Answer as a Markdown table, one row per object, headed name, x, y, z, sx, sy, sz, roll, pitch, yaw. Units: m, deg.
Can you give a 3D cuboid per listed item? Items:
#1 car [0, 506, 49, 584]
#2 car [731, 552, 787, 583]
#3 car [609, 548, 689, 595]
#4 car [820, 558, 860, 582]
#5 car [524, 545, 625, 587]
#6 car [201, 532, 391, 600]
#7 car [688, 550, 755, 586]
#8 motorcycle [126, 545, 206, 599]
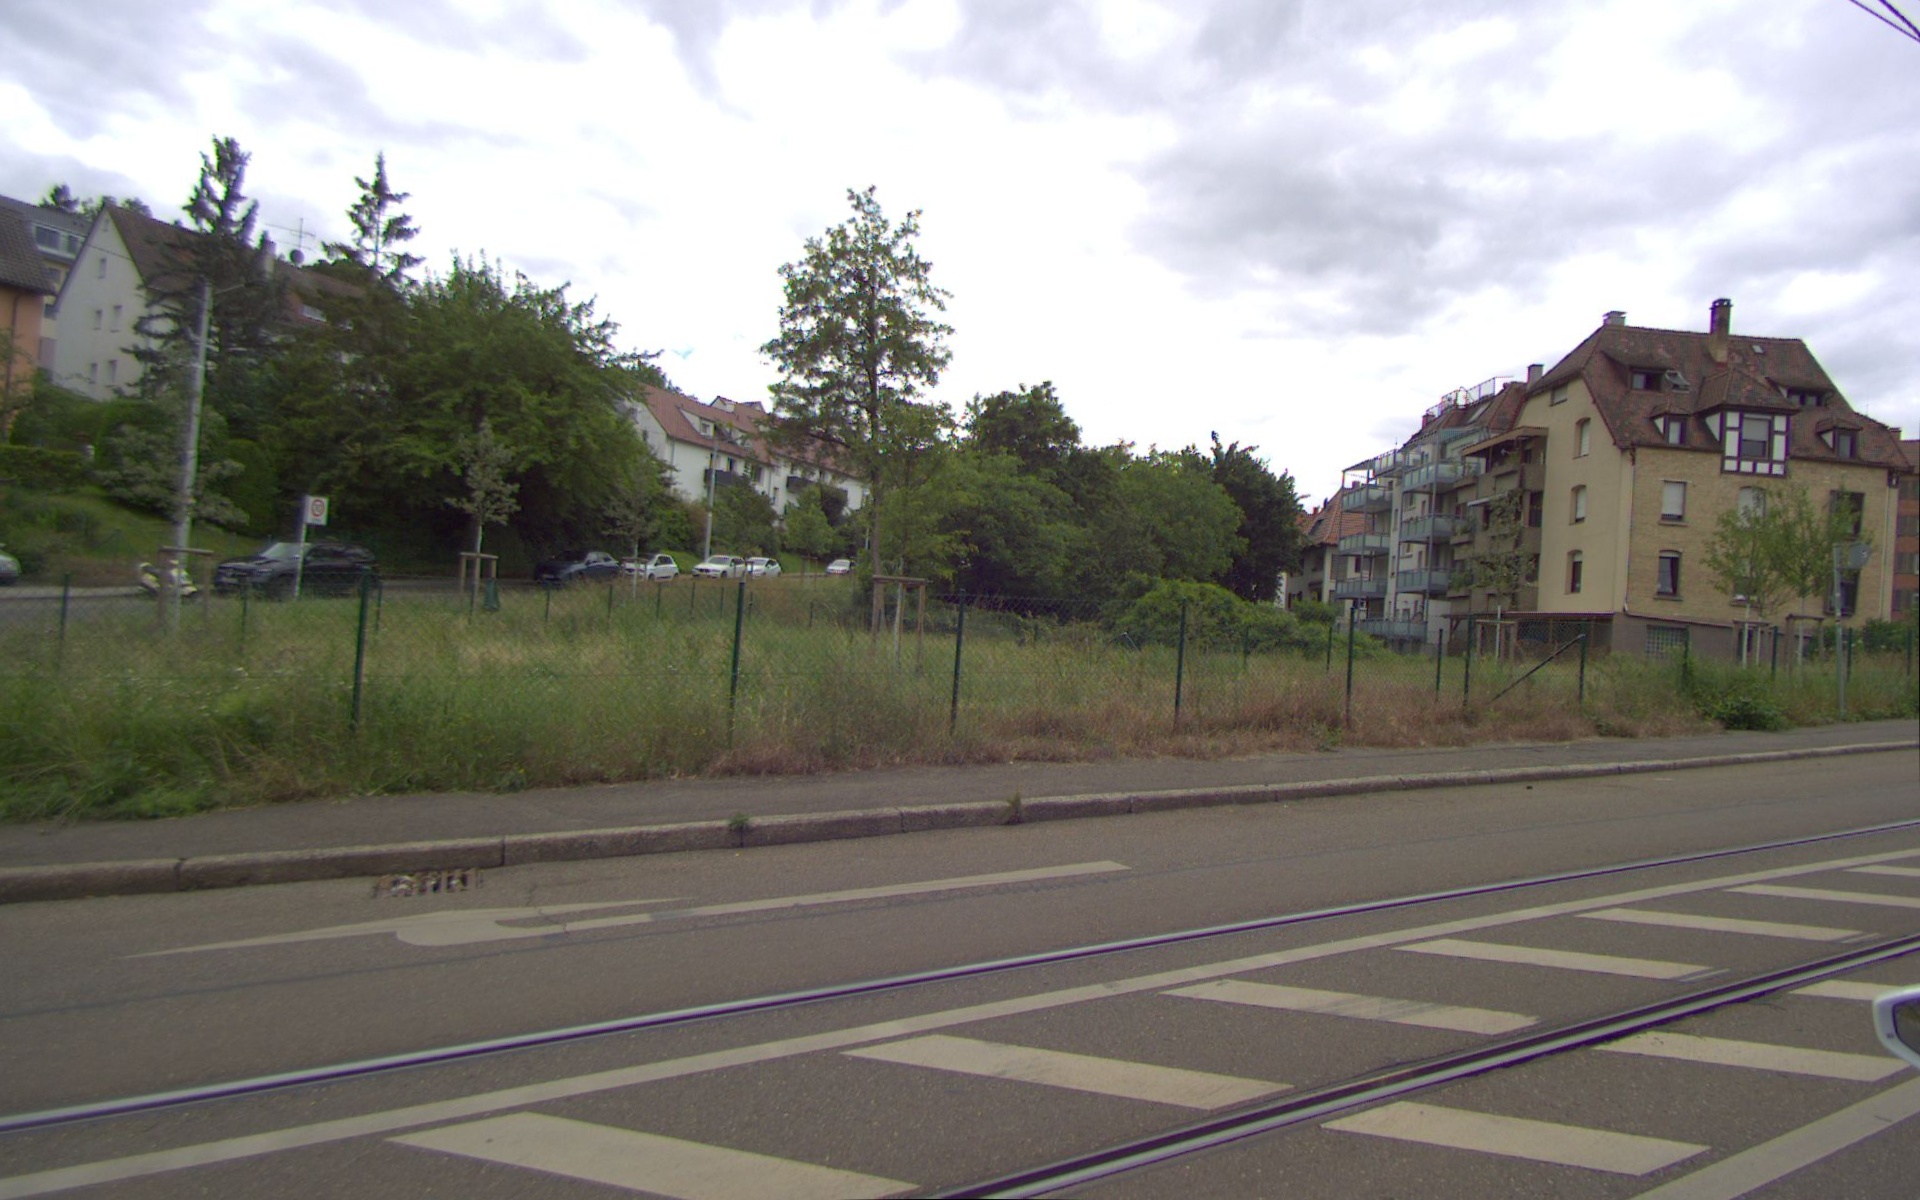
| name | x | y | z | sx | sy | sz | roll | pitch | yaw |
| --- | --- | --- | --- | --- | --- | --- | --- | --- | --- |
| car | -24.809 | -1.531 | 24.862 | 4.795 | 1.633 | 1.996 | 9 | 3 | 31 |
| car | -12.458 | -1.992 | 62.428 | 1.800 | 1.680 | 4.134 | 3 | 0 | 13 |
| car | -15.193 | -1.363 | 49.331 | 1.942 | 2.040 | 4.134 | 3 | 0 | 12 |
| car | -9.436 | -2.328 | 79.399 | 1.800 | 1.680 | 4.134 | 3 | 0 | 13 |
| car | -16.248 | -1.389 | 42.564 | 1.942 | 1.531 | 4.134 | 3 | 0 | 13 |
| car | -18.752 | -1.010 | 28.658 | 1.937 | 1.713 | 4.452 | 3 | 3 | 11 |
| car | -13.521 | -1.776 | 57.234 | 1.863 | 1.812 | 4.487 | 3 | 0 | 13 |
| motorcycle | -19.984 | -0.698 | 25.282 | 1.671 | 1.172 | 0.522 | 7 | 1 | 9 |
